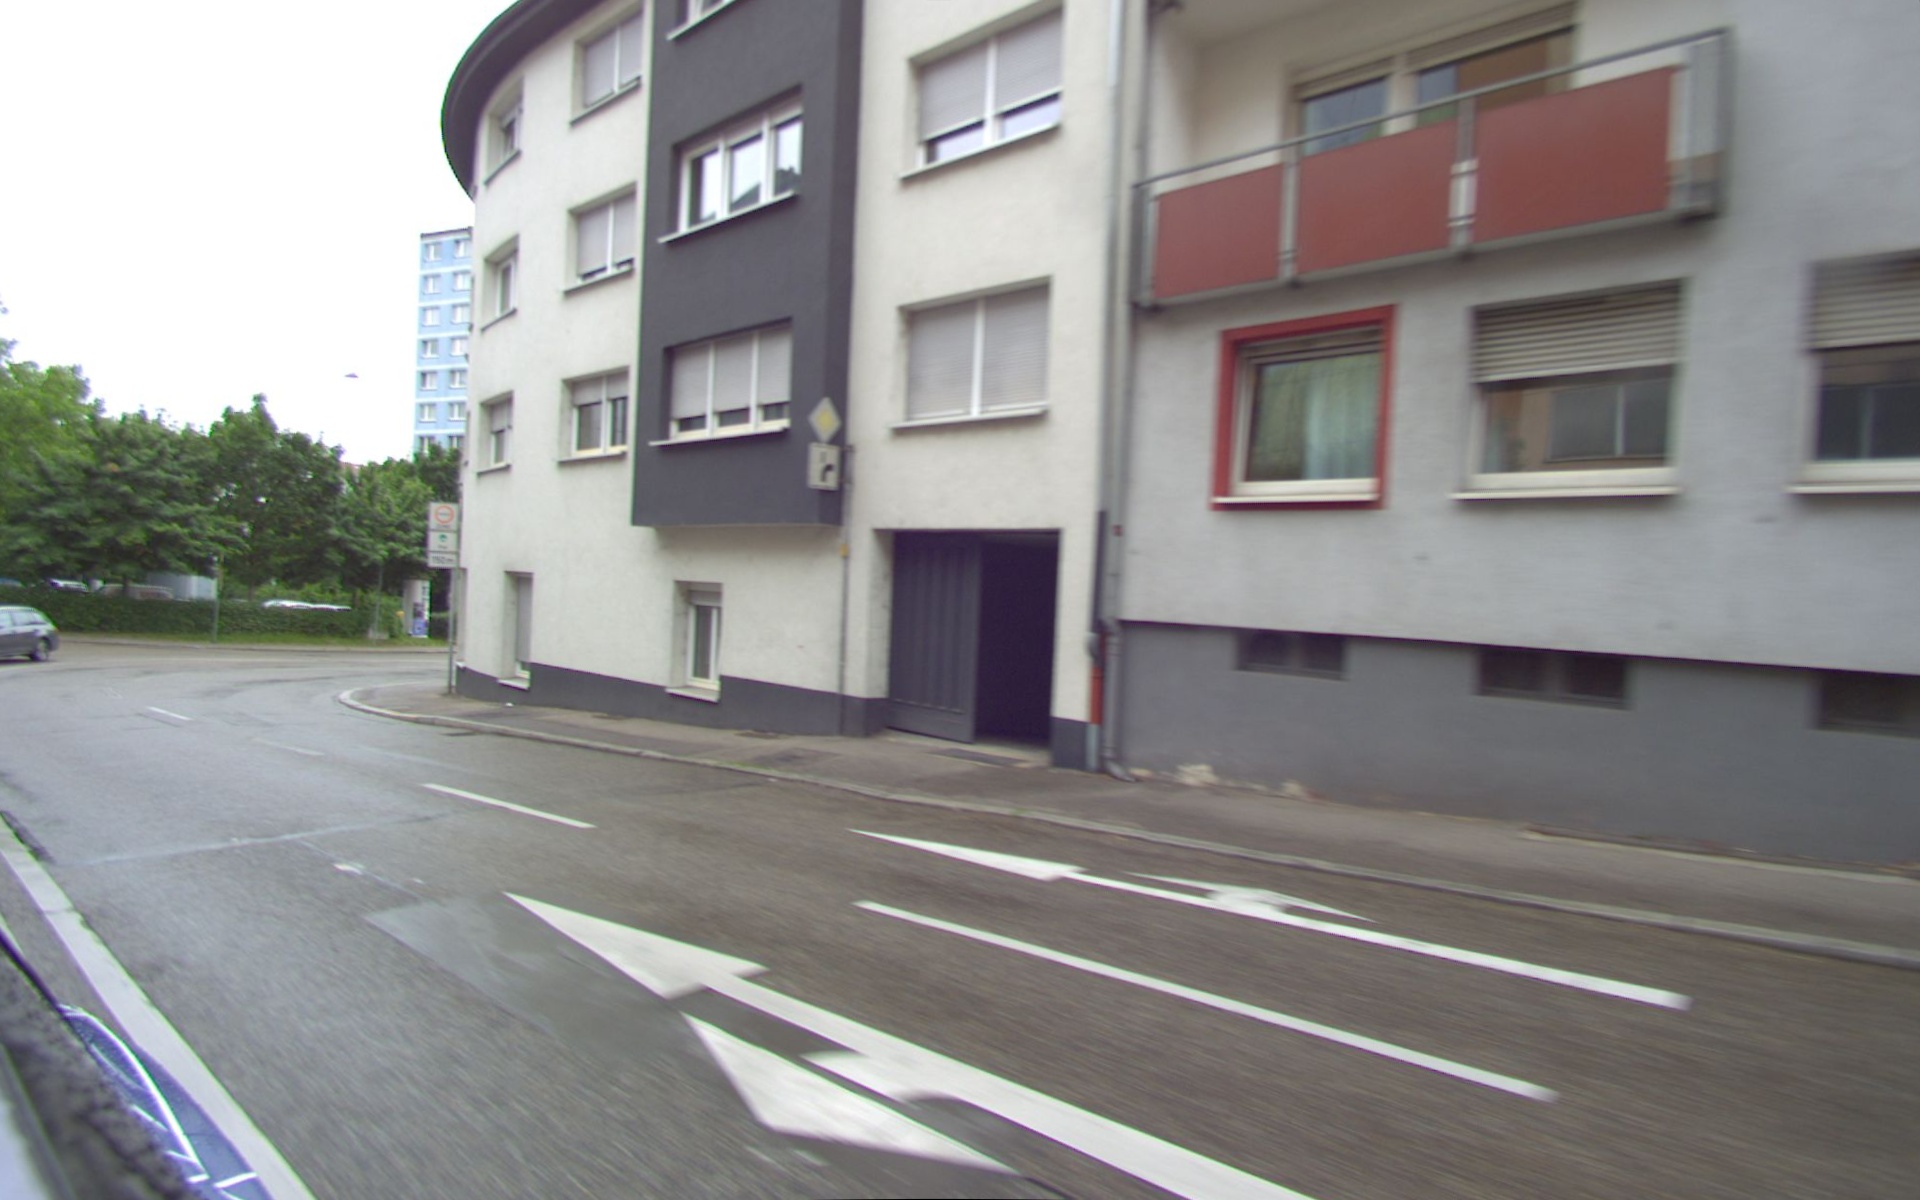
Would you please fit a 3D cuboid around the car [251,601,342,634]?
[{"bbox_3d":[-38.021,1.008,58.069,1.787,1.521,3.972,3,-4,21],"label":"car"}]

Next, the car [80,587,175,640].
[{"bbox_3d":[-35.644,0.576,43.288,4.196,1.975,1.620,2,-4,30],"label":"car"}]

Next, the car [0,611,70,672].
[{"bbox_3d":[-25.669,1.058,26.168,1.661,1.516,4.508,3,-2,-7],"label":"car"}]

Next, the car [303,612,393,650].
[{"bbox_3d":[-31.615,1.619,52.295,4.180,1.633,1.626,3,-4,20],"label":"car"}]
